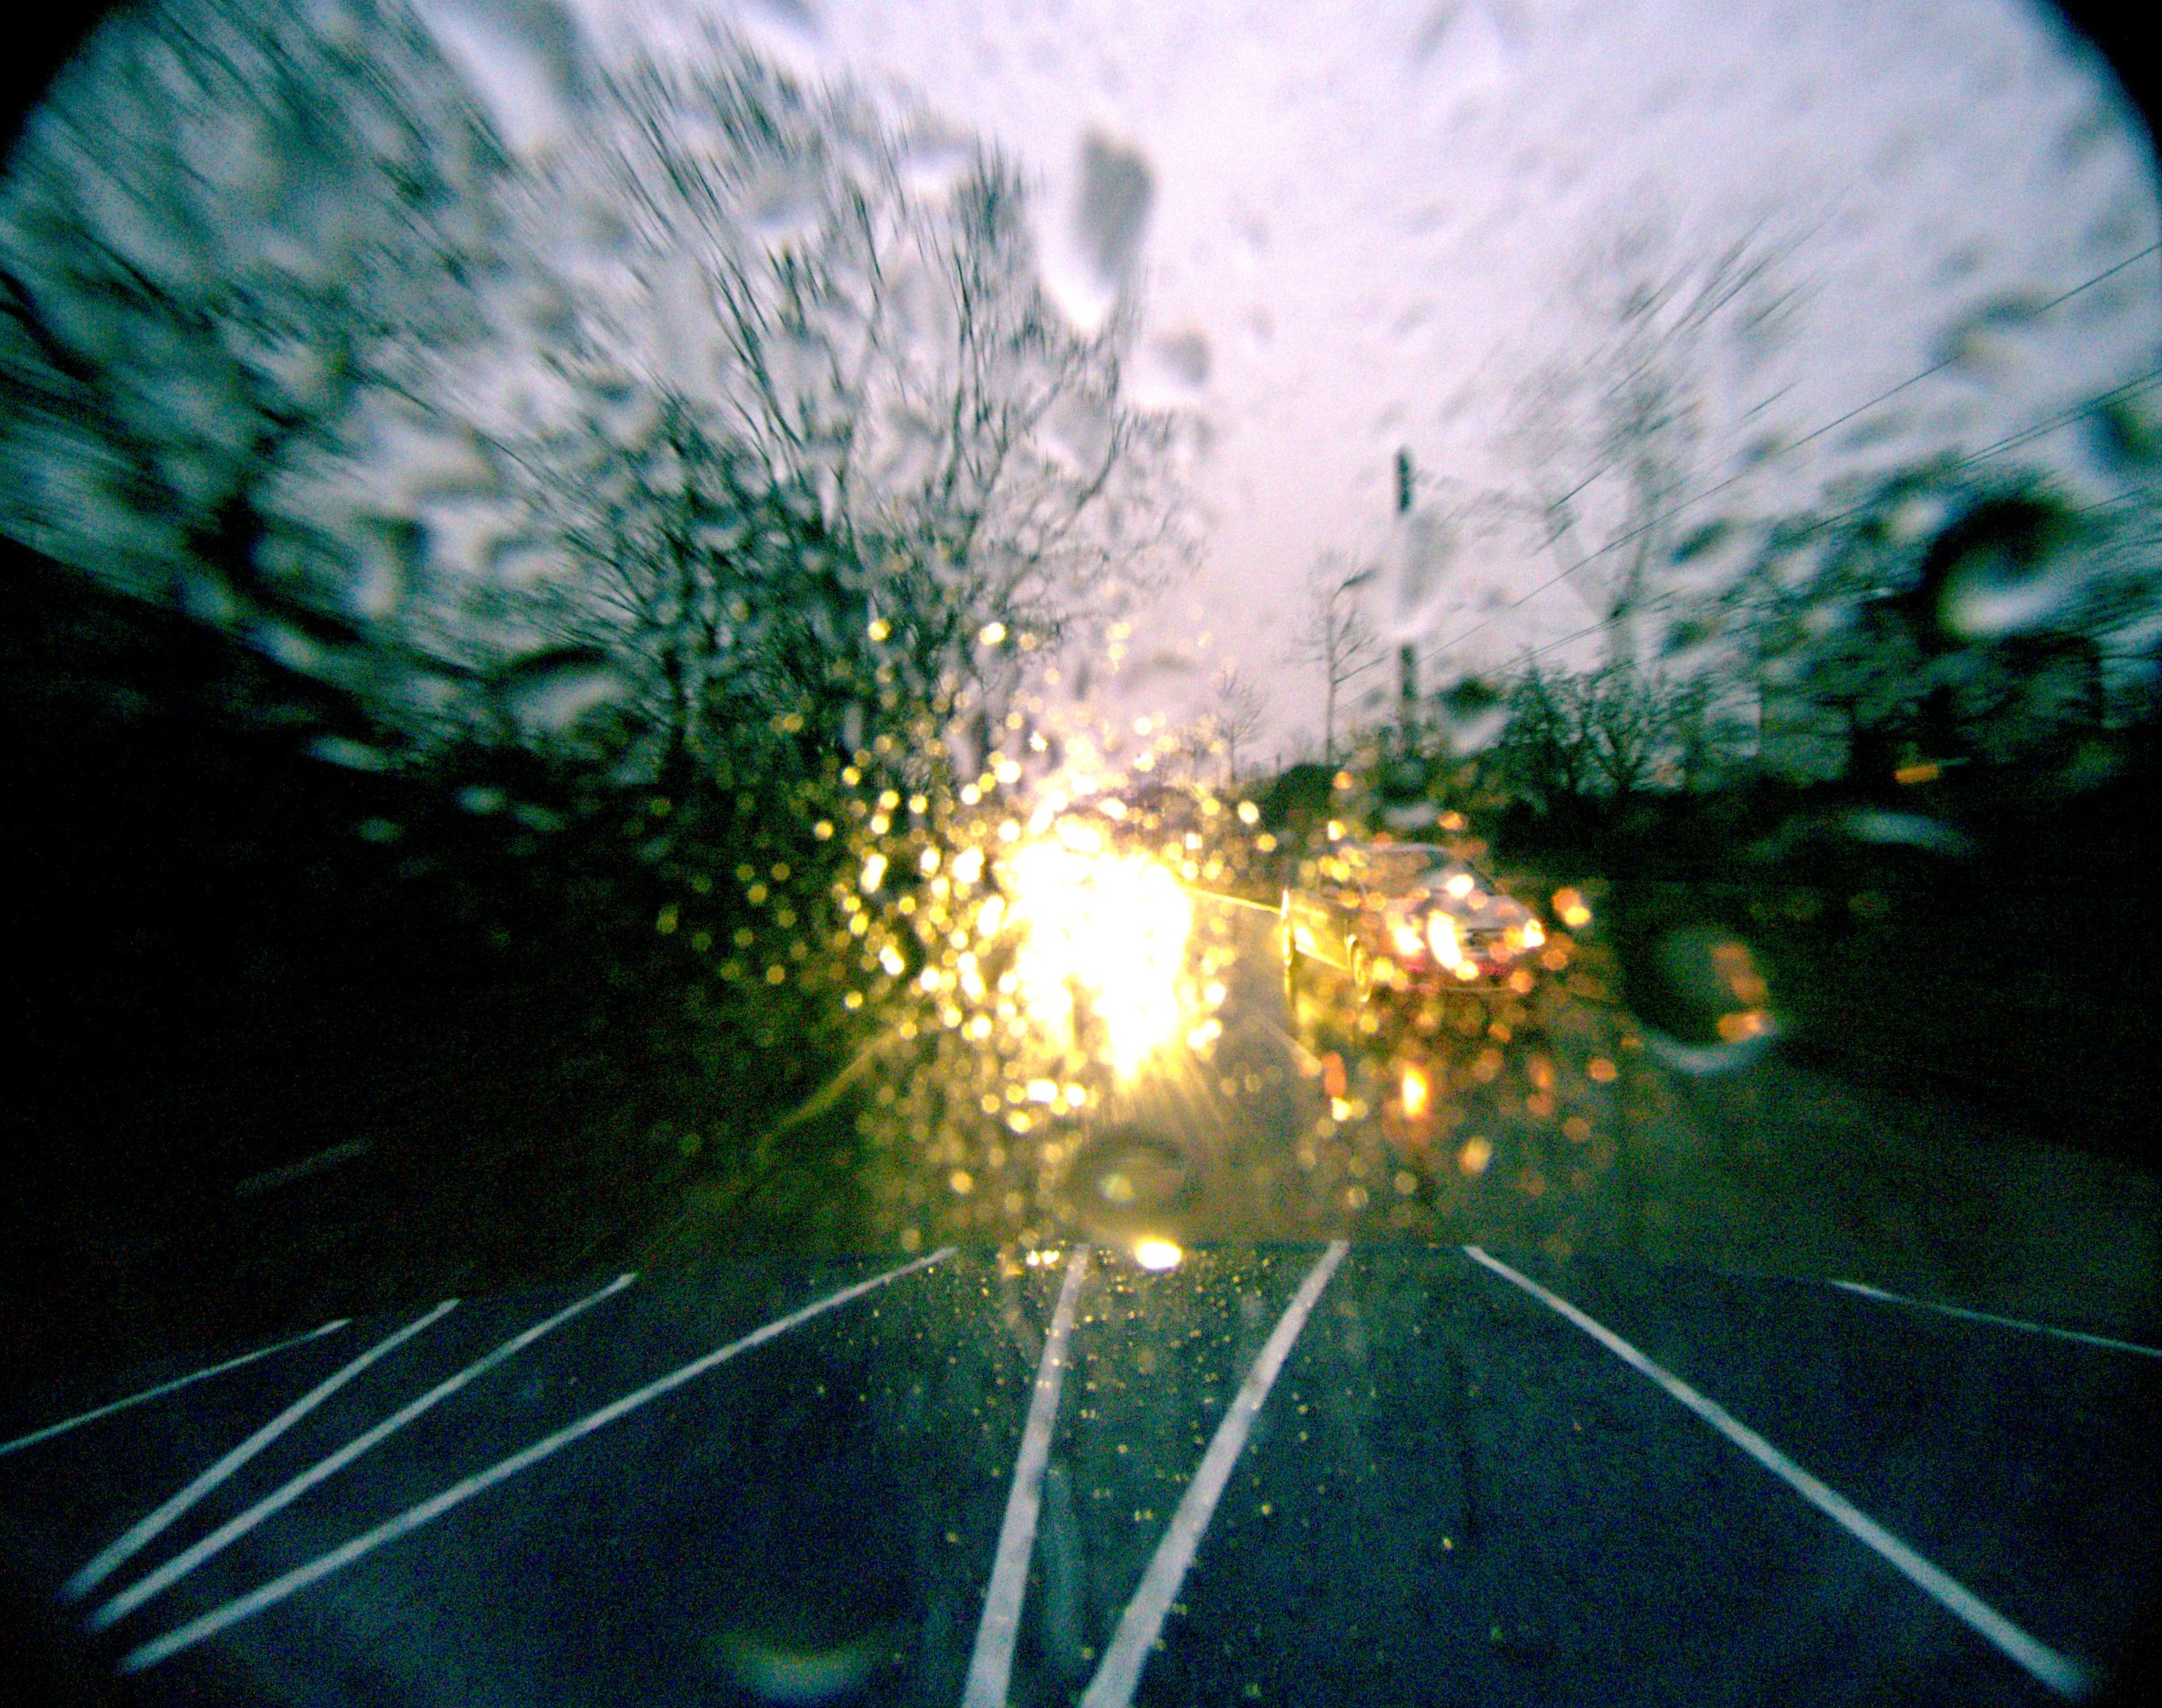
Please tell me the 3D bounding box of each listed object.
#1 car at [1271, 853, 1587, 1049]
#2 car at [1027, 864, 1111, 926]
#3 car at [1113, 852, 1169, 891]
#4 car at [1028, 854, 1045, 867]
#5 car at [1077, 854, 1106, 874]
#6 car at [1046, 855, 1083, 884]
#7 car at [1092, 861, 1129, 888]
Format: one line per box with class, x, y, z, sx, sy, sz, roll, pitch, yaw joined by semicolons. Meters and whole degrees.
car;3.409;0.814;8.327;1.669;1.566;3.923;-3;0;1
car;-0.326;0.958;19.421;1.897;1.347;4.289;-1;0;-2
car;2.585;0.744;33.851;1.924;1.546;4.216;-3;0;-3
car;-5.866;0.873;99.616;1.950;1.546;4.215;-3;0;-5
car;0.844;0.808;65.007;1.950;1.546;4.215;-3;0;-5
car;-1.035;0.881;44.964;1.950;1.546;4.216;-3;0;-3
car;1.822;1.272;48.520;1.845;1.546;4.215;-3;0;-4
